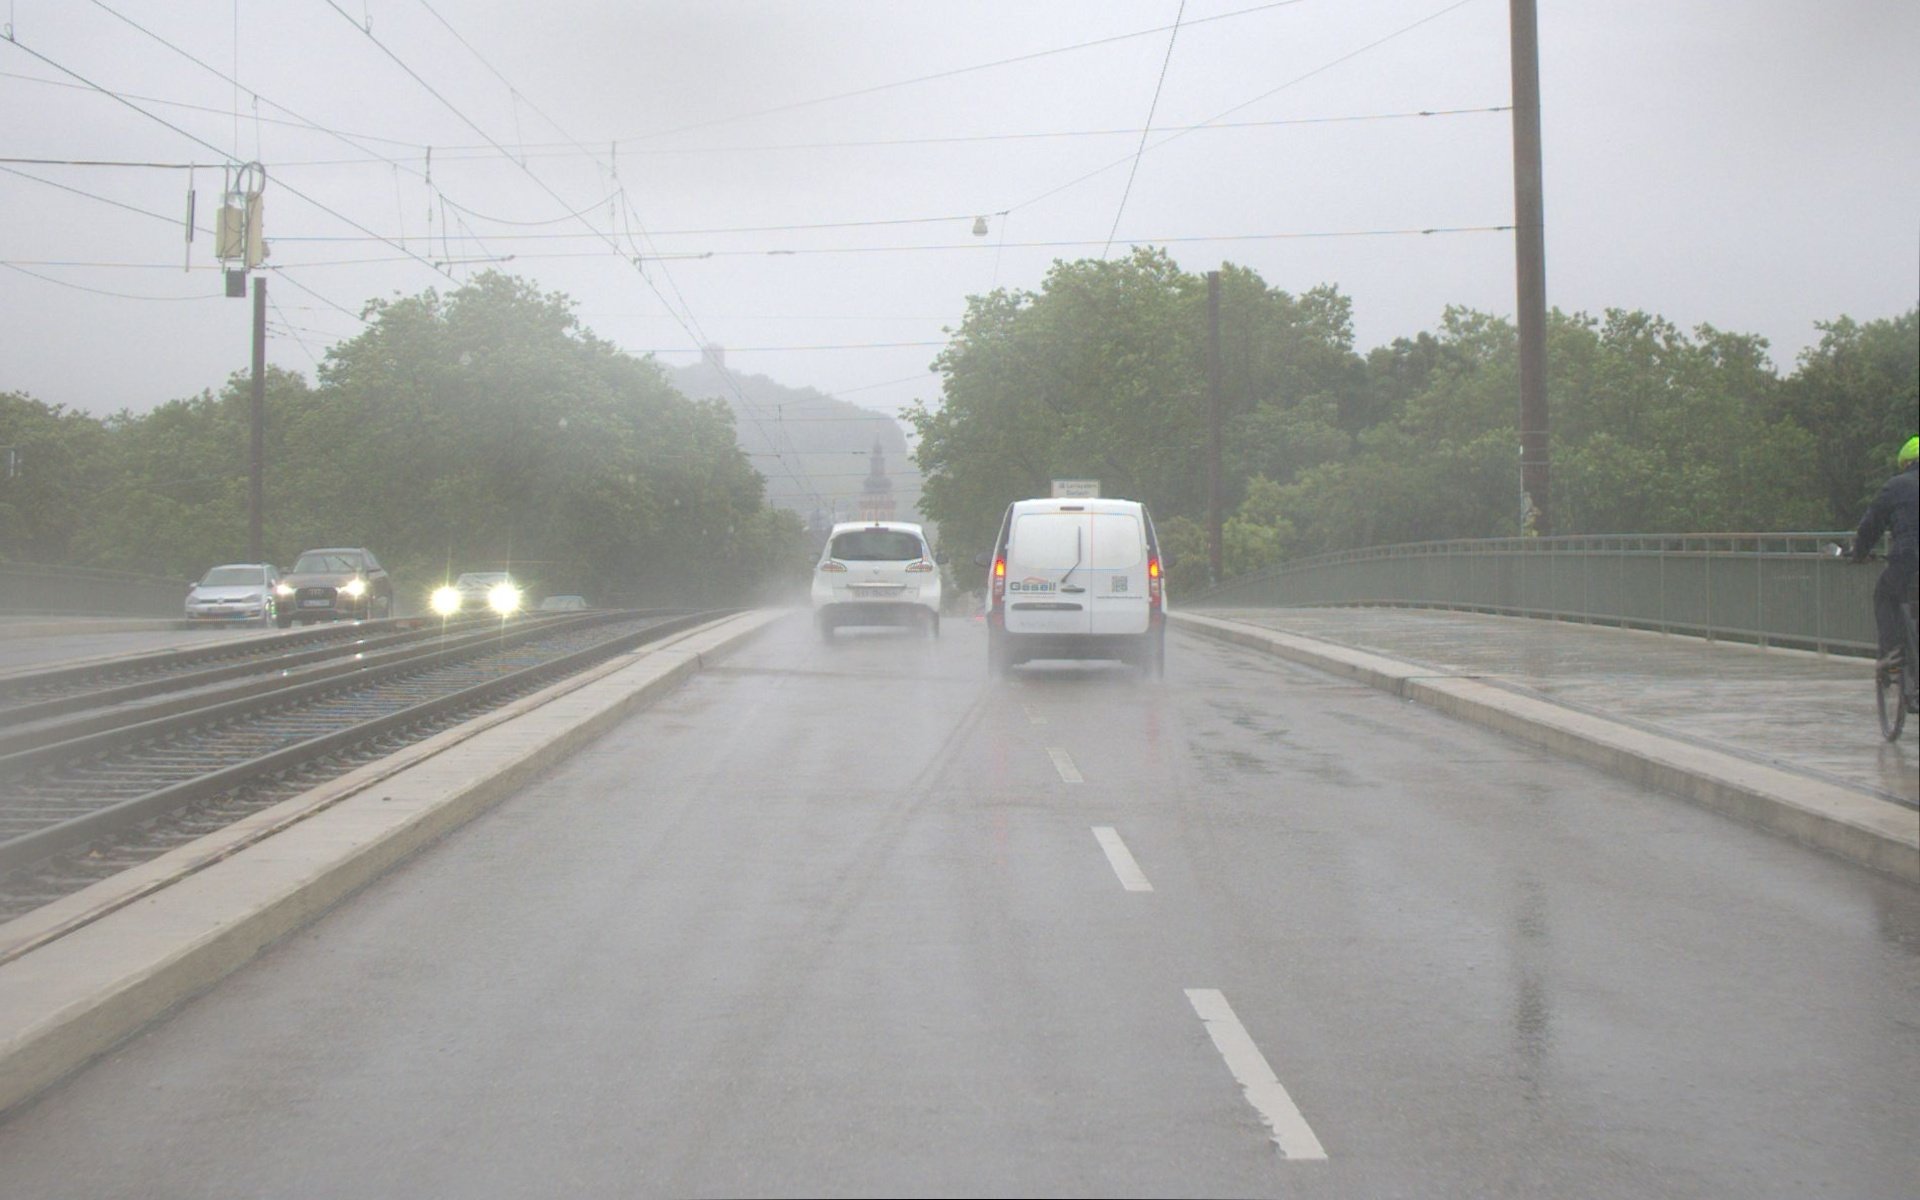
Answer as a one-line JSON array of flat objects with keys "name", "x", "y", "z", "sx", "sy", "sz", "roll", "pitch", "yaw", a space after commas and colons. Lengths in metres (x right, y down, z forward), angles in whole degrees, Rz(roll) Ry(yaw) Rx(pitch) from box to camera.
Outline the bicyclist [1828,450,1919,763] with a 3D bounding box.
[{"name": "bicyclist", "x": 5.517, "y": 0.043, "z": 19.851, "sx": 0.725, "sy": 1.758, "sz": 0.949, "roll": 1, "pitch": -1, "yaw": 0}]

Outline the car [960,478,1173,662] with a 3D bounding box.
[{"name": "car", "x": 1.071, "y": -0.274, "z": 34.926, "sx": 1.993, "sy": 1.720, "sz": 4.000, "roll": 1, "pitch": 0, "yaw": 2}]

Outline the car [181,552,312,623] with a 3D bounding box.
[{"name": "car", "x": -15.726, "y": -0.247, "z": 75.988, "sx": 1.993, "sy": 1.451, "sz": 4.620, "roll": -2, "pitch": 0, "yaw": -1}]

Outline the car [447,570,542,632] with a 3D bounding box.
[{"name": "car", "x": -12.065, "y": 0.042, "z": 89.379, "sx": 1.993, "sy": 1.504, "sz": 5.114, "roll": -2, "pitch": 0, "yaw": -3}]

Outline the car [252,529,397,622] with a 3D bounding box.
[{"name": "car", "x": -12.628, "y": -0.457, "z": 68.631, "sx": 1.993, "sy": 1.711, "sz": 4.941, "roll": -2, "pitch": 0, "yaw": -1}]

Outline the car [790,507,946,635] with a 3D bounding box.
[{"name": "car", "x": -1.275, "y": -0.381, "z": 49.211, "sx": 1.993, "sy": 1.711, "sz": 4.000, "roll": 1, "pitch": 0, "yaw": 2}]

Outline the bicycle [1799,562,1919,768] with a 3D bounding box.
[{"name": "bicycle", "x": 5.496, "y": 0.355, "z": 19.876, "sx": 0.723, "sy": 1.125, "sz": 2.168, "roll": 1, "pitch": 0, "yaw": 0}]
